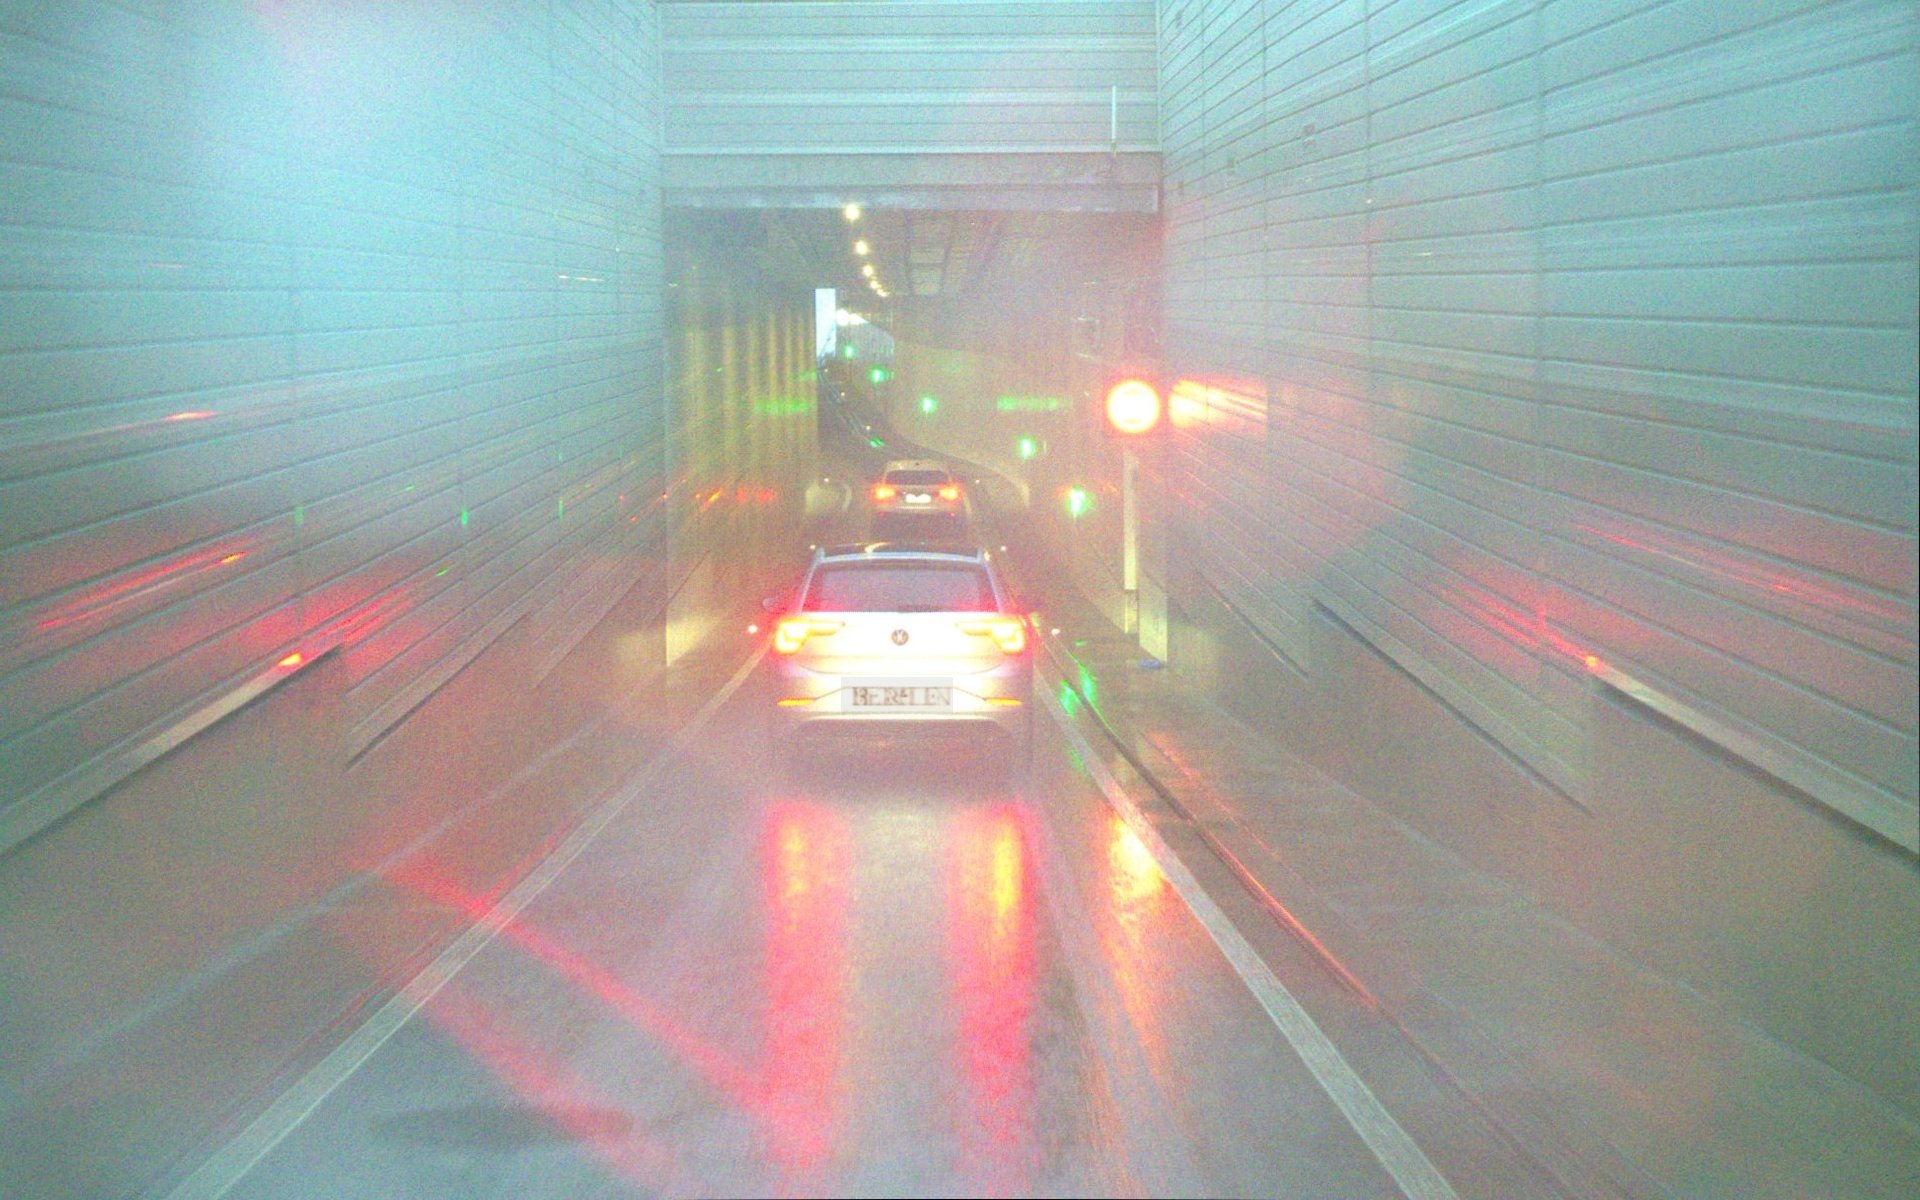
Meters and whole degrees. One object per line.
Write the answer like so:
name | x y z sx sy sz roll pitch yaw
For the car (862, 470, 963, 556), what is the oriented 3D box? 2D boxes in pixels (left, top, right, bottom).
car | -0.990 -1.783 69.525 1.919 1.480 4.001 2 4 -2

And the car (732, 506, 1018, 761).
car | -0.504 0.154 23.277 1.722 1.474 4.000 2 2 1
